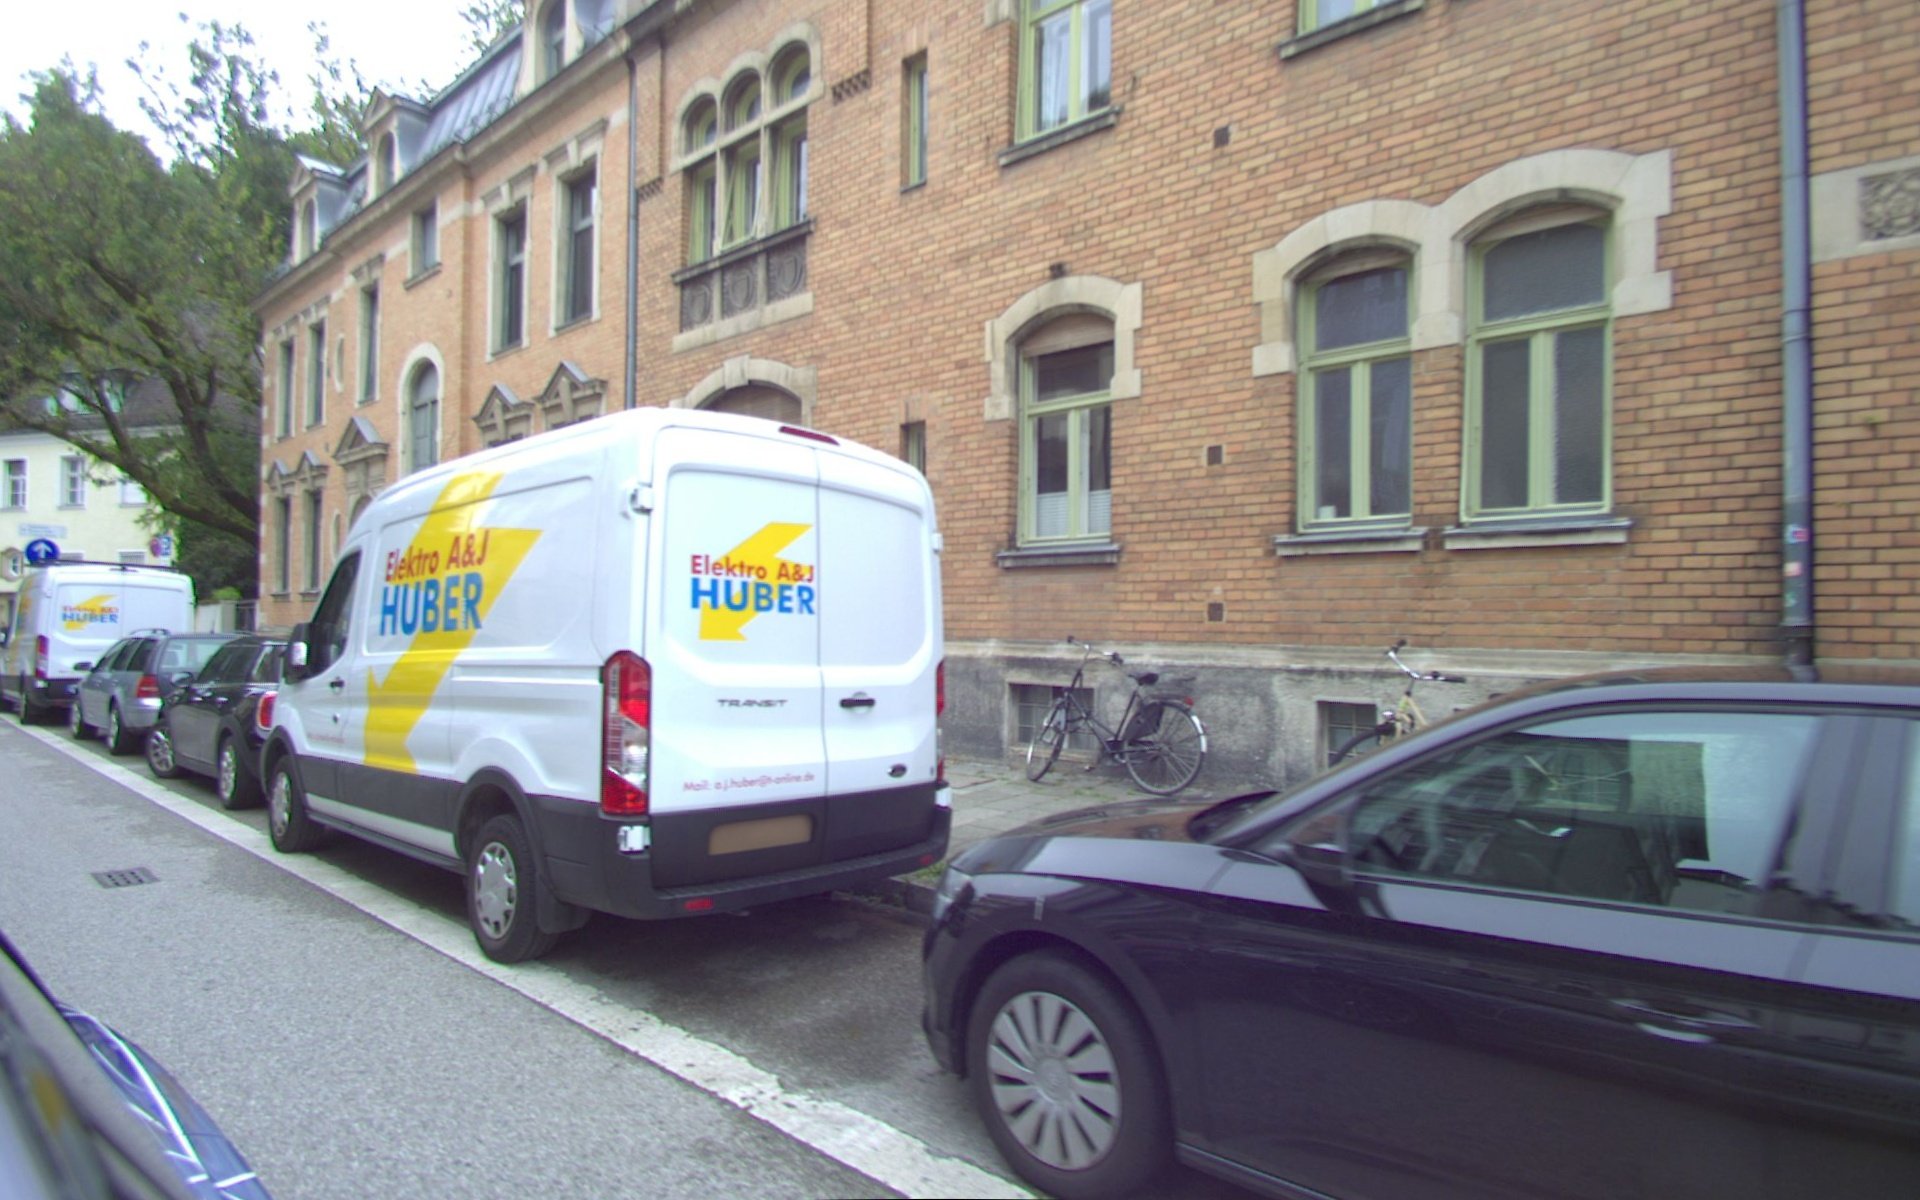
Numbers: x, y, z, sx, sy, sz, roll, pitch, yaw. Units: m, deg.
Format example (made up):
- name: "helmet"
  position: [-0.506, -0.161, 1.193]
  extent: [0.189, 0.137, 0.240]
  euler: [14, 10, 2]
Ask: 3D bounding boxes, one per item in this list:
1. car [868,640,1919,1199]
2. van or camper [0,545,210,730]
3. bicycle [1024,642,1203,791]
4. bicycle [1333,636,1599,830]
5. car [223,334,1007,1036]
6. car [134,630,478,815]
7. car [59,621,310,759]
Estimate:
- name: "car"
  position: [1.852, 0.822, 2.326]
  extent: [4.163, 1.431, 1.697]
  euler: [-2, -3, 41]
- name: "van or camper"
  position: [-14.655, 0.638, 17.094]
  extent: [4.954, 2.682, 2.089]
  euler: [-2, -3, 41]
- name: "bicycle"
  position: [1.235, 0.914, 8.347]
  extent: [1.470, 1.093, 0.389]
  euler: [-1, 0, 40]
- name: "bicycle"
  position: [3.229, 0.798, 6.534]
  extent: [1.470, 1.093, 0.430]
  euler: [-1, 0, 40]
- name: "car"
  position: [-2.412, 0.382, 6.113]
  extent: [5.228, 2.495, 2.090]
  euler: [-2, -3, 41]
- name: "car"
  position: [-6.376, 1.019, 9.730]
  extent: [3.790, 1.426, 1.746]
  euler: [-2, -3, 41]
- name: "car"
  position: [-10.132, 1.071, 13.126]
  extent: [4.078, 1.512, 1.746]
  euler: [-2, -3, 41]
